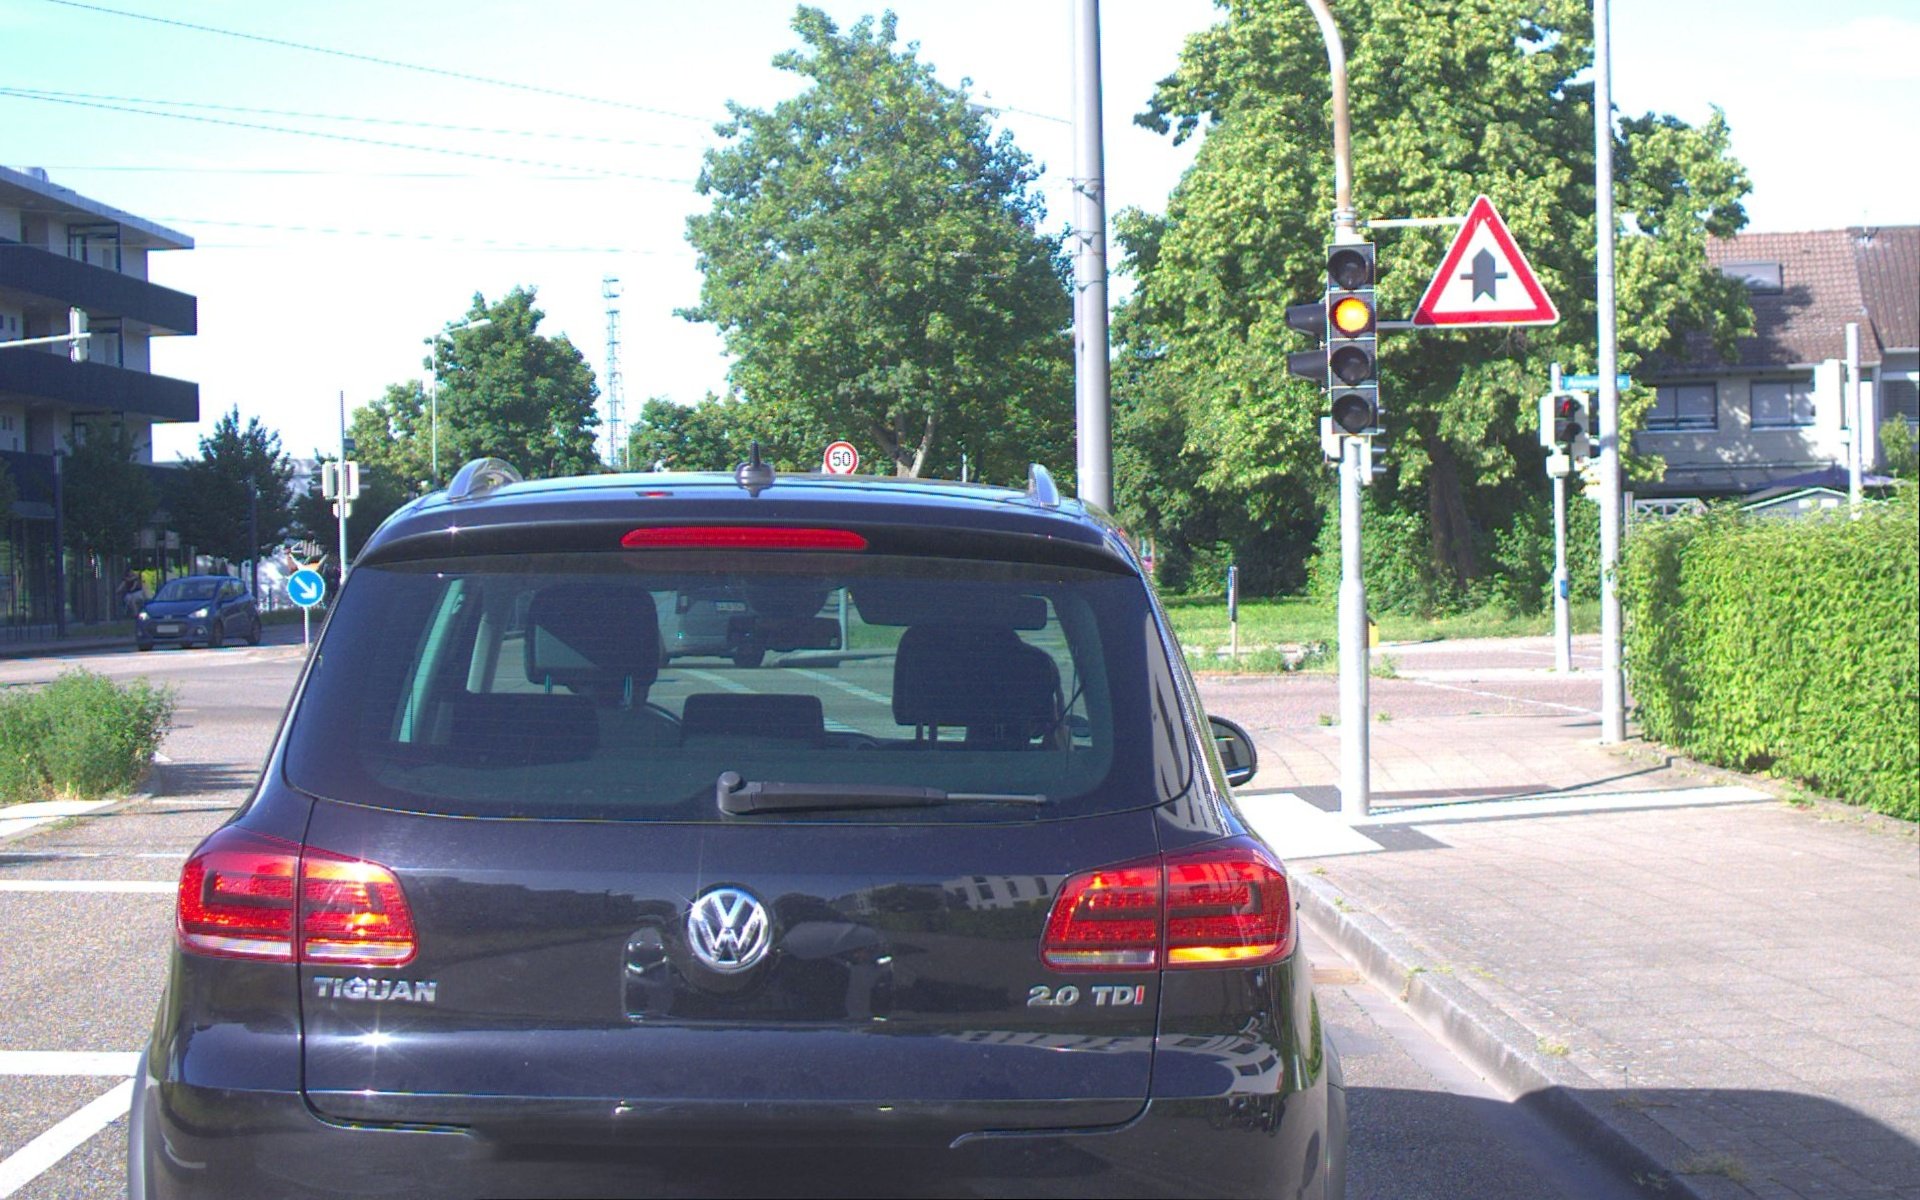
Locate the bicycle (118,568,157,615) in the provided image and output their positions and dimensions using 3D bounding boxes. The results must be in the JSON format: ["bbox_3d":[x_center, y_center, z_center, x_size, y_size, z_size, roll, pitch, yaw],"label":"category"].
[{"bbox_3d":[-23.436,-0.249,97.970,0.630,1.327,1.913,1,1,0],"label":"bicycle"}]

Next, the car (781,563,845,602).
[{"bbox_3d":[-6.161,-0.742,144.632,1.994,1.569,4.338,1,1,7],"label":"car"}]

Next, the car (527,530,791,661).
[{"bbox_3d":[-4.454,-0.091,50.480,1.994,1.830,3.999,0,1,-38],"label":"car"}]

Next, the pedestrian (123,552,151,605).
[{"bbox_3d":[-23.432,-0.603,97.840,0.642,1.504,0.596,1,0,0],"label":"pedestrian"}]

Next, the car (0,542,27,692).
[{"bbox_3d":[-12.817,0.224,39.324,3.676,1.714,1.869,-2,1,-41],"label":"car"}]

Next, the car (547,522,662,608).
[{"bbox_3d":[-7.200,-0.709,69.998,1.993,1.678,4.000,1,1,-1],"label":"car"}]

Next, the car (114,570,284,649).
[{"bbox_3d":[-15.769,0.171,71.458,1.994,1.569,4.337,1,1,9],"label":"car"}]

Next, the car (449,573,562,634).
[{"bbox_3d":[-12.313,0.075,93.427,1.994,1.569,4.338,1,1,7],"label":"car"}]

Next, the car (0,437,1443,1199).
[{"bbox_3d":[-0.338,0.596,6.479,1.869,1.632,4.000,1,1,-1],"label":"car"}]
